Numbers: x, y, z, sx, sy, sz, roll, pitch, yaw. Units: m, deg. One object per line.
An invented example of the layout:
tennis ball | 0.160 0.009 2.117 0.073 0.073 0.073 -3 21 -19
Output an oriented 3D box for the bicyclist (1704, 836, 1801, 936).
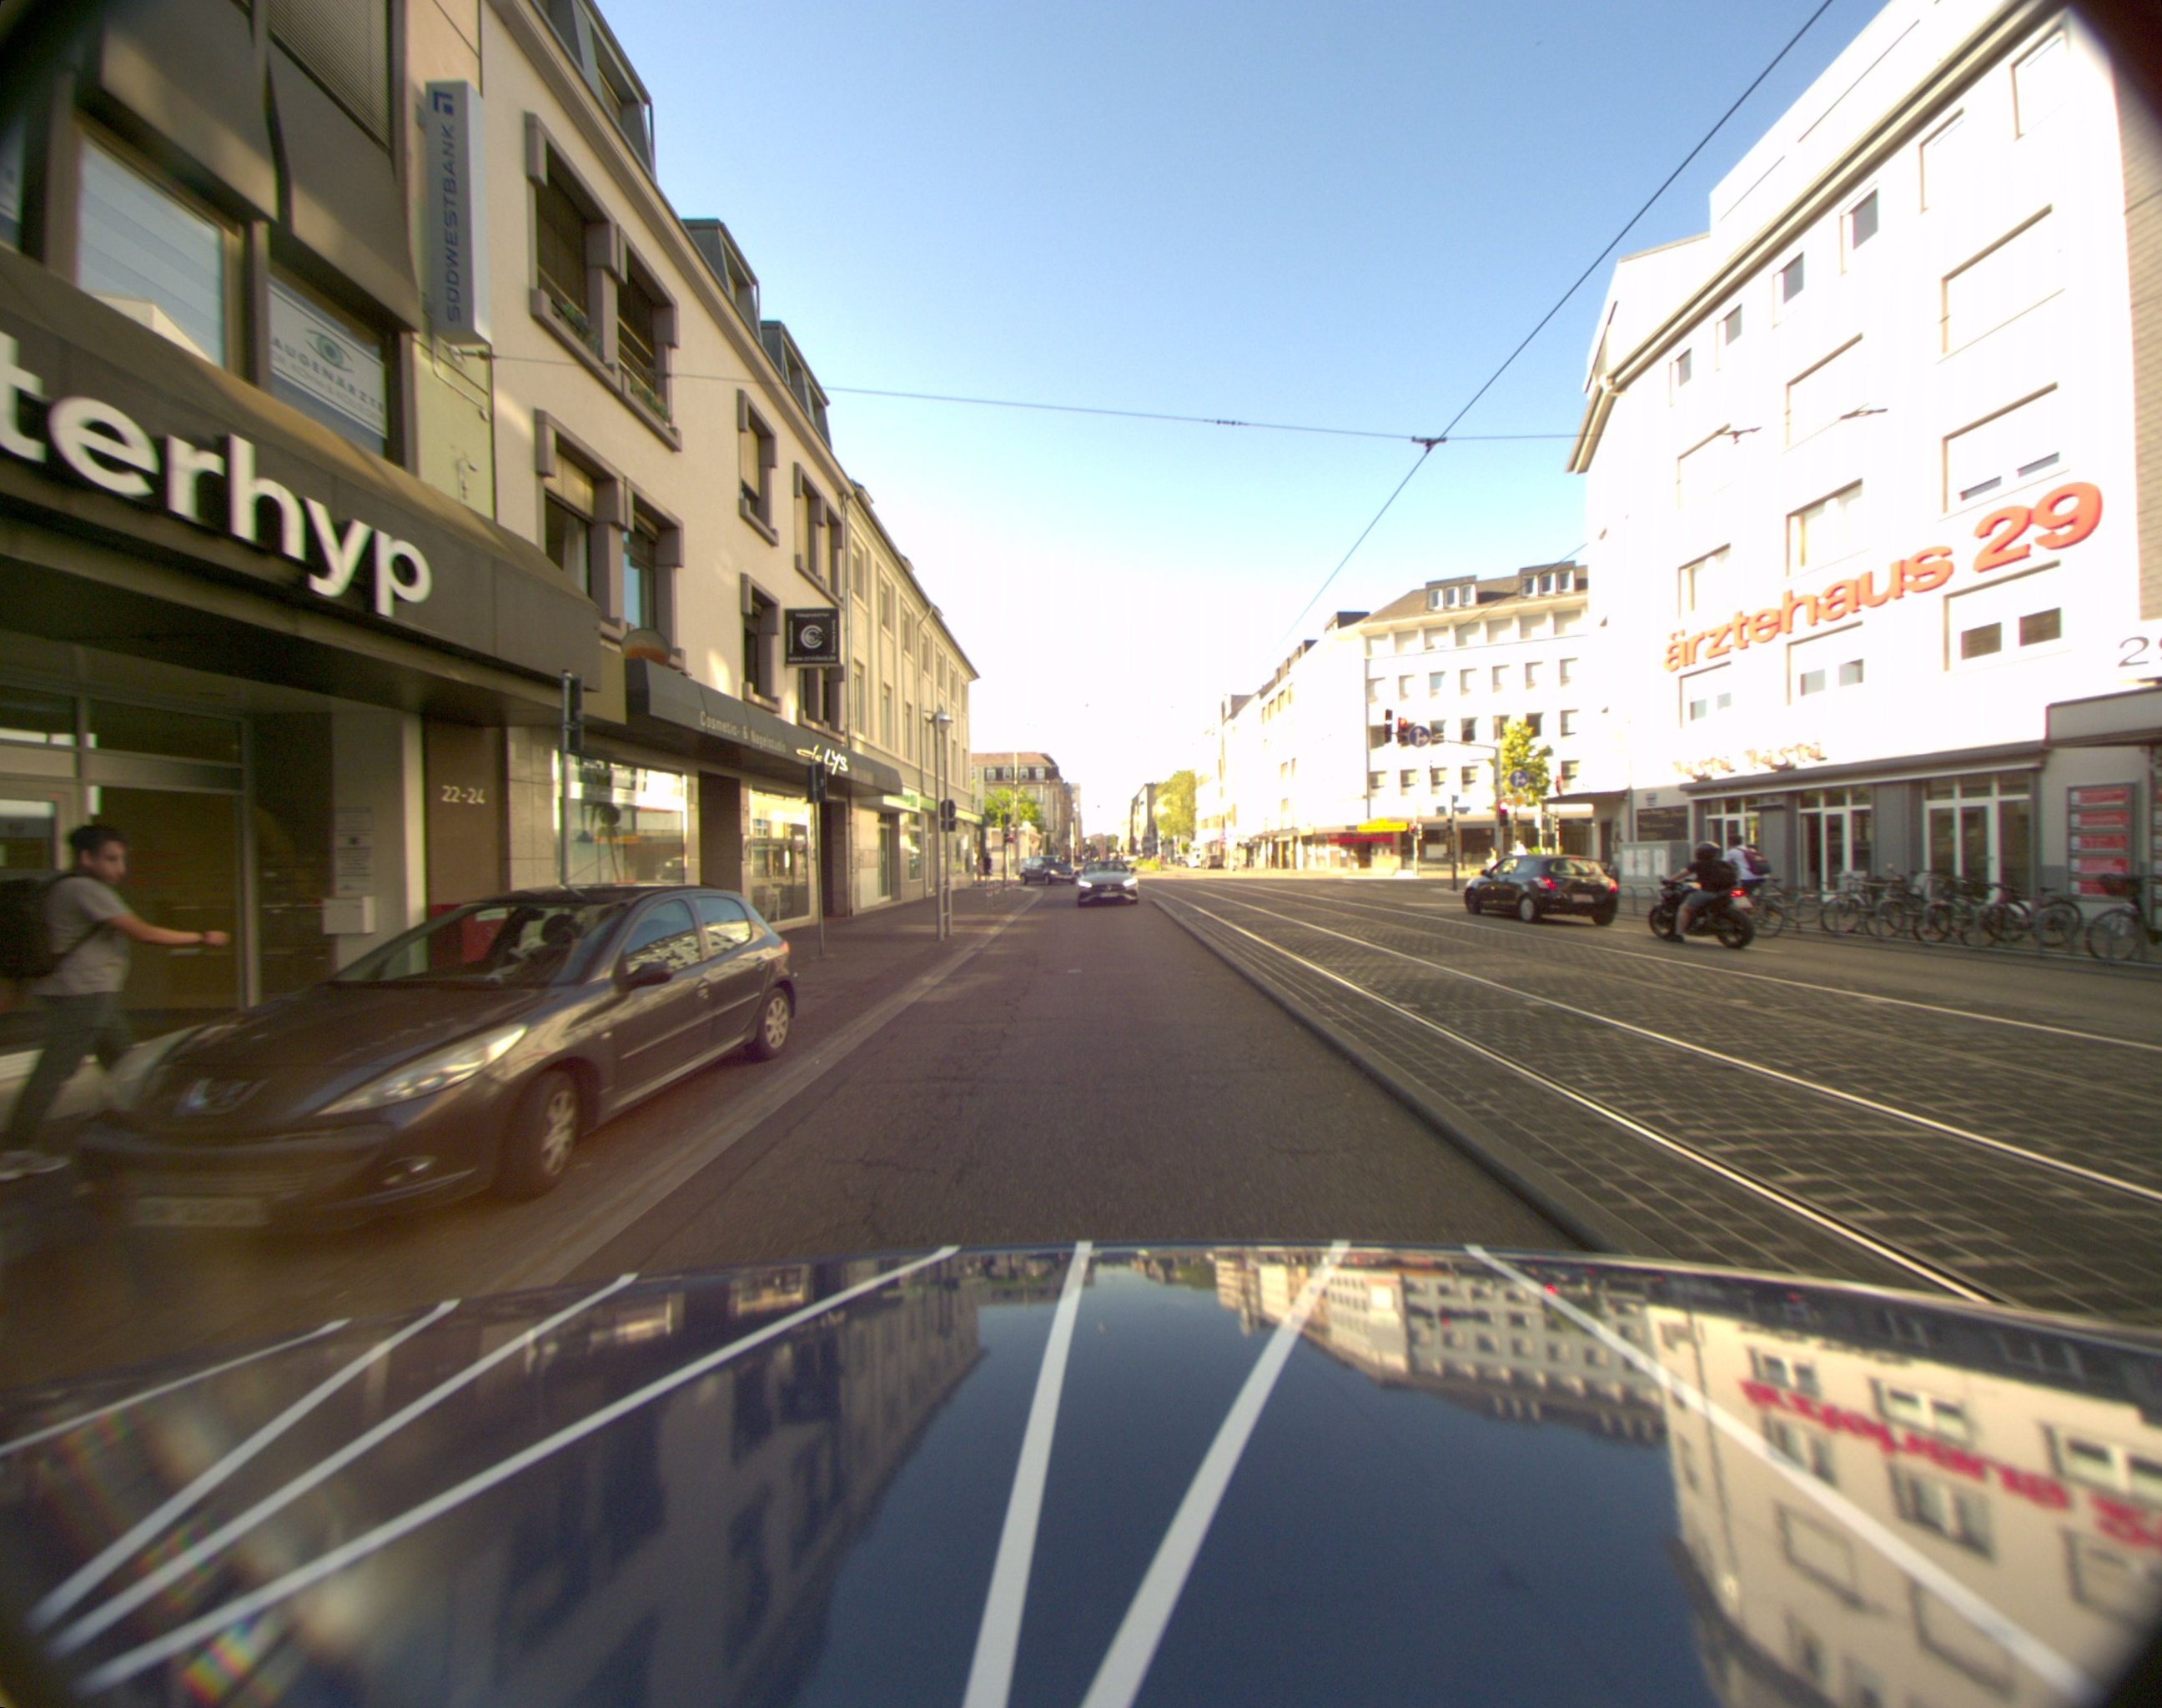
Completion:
bicyclist | 12.057 0.554 13.691 0.752 1.719 1.146 -1 1 2

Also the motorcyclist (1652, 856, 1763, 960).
motorcyclist | 9.878 0.815 12.027 0.805 1.549 1.146 0 1 2

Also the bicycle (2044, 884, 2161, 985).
bicycle | 13.702 0.996 9.706 1.940 1.145 0.774 -1 1 -4

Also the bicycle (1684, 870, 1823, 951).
bicycle | 12.072 0.973 13.748 0.752 1.285 2.025 -1 0 1

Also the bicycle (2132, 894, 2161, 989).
bicycle | 13.685 1.023 8.856 1.940 1.104 0.774 -1 1 -4

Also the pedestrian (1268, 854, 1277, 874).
pedestrian | 16.899 0.898 66.982 0.710 1.699 0.561 -1 0 22

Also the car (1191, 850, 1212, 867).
car | 14.539 0.530 91.733 1.998 2.002 4.844 -1 0 4

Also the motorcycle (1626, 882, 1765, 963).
motorcycle | 9.870 1.057 12.326 0.571 1.113 2.117 0 0 2

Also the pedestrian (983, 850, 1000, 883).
pedestrian | -4.963 0.704 42.215 0.680 1.831 0.643 -1 0 25

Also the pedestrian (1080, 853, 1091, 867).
pedestrian | 0.965 1.211 154.791 1.381 2.774 1.947 -1 1 -29

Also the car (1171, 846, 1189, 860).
car | 14.115 -0.106 108.682 1.998 2.002 4.000 -1 0 1

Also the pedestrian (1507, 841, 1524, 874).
pedestrian | 23.155 0.196 40.471 0.558 1.718 0.781 -1 1 11

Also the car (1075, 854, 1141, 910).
car | 0.961 0.840 24.656 1.909 1.454 4.364 -2 2 5

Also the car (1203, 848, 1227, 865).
car | 14.705 0.273 83.443 1.998 1.696 4.000 -1 0 1

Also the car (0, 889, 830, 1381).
car | -3.303 1.047 4.746 1.852 1.453 4.303 0 0 3

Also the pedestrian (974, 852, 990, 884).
pedestrian | -5.491 0.754 42.238 0.648 1.749 0.575 -1 1 25

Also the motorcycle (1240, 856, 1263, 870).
motorcycle | 18.643 1.027 82.999 2.254 1.496 1.000 -1 0 -2

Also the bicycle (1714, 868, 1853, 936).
bicycle | 13.962 0.930 15.136 2.109 1.216 0.774 -2 1 -4

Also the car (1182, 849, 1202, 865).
car | 14.256 0.395 97.403 1.998 2.002 4.000 -1 0 1

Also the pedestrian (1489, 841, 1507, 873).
pedestrian | 22.915 0.156 41.783 0.653 1.702 0.793 -1 1 10

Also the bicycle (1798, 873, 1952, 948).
bicycle | 13.797 0.956 13.237 1.940 1.165 0.774 -2 1 -4

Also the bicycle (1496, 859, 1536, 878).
bicycle | 23.265 0.777 40.639 1.791 0.962 0.554 -1 0 13

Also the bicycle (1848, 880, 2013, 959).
bicycle | 13.819 1.050 12.393 1.940 1.185 0.774 -1 1 -4

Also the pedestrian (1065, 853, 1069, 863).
pedestrian | -1.820 0.544 98.427 0.509 1.266 0.719 -1 0 -7

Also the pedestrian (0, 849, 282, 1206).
pedestrian | -5.400 0.851 4.223 0.781 1.742 1.032 -1 0 2

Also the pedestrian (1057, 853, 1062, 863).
pedestrian | -2.735 0.554 98.023 0.622 1.266 0.780 -1 0 -1

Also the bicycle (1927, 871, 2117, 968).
bicycle | 13.783 0.934 11.162 1.940 1.272 0.773 -2 1 -4

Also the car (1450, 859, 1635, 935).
car | 10.131 0.863 17.099 1.717 1.437 4.139 1 0 2

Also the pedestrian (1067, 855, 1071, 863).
pedestrian | -2.117 0.829 131.944 0.691 1.372 0.780 -1 0 3

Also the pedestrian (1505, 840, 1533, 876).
pedestrian | 22.990 0.206 39.880 1.000 1.855 0.781 -1 -2 11

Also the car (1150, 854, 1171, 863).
car | 15.386 0.858 147.040 3.996 1.787 2.000 -1 0 2

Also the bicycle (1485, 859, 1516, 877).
bicycle | 23.110 0.762 41.871 1.453 0.950 0.482 -1 0 11

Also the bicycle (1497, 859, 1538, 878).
bicycle | 22.929 0.770 39.917 1.722 1.001 0.762 -1 -2 13

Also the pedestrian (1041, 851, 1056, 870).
pedestrian | -2.941 0.580 68.751 0.947 1.653 0.915 -1 0 -38

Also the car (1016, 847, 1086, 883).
car | -1.717 0.553 42.118 1.914 1.860 4.086 -3 2 -35
